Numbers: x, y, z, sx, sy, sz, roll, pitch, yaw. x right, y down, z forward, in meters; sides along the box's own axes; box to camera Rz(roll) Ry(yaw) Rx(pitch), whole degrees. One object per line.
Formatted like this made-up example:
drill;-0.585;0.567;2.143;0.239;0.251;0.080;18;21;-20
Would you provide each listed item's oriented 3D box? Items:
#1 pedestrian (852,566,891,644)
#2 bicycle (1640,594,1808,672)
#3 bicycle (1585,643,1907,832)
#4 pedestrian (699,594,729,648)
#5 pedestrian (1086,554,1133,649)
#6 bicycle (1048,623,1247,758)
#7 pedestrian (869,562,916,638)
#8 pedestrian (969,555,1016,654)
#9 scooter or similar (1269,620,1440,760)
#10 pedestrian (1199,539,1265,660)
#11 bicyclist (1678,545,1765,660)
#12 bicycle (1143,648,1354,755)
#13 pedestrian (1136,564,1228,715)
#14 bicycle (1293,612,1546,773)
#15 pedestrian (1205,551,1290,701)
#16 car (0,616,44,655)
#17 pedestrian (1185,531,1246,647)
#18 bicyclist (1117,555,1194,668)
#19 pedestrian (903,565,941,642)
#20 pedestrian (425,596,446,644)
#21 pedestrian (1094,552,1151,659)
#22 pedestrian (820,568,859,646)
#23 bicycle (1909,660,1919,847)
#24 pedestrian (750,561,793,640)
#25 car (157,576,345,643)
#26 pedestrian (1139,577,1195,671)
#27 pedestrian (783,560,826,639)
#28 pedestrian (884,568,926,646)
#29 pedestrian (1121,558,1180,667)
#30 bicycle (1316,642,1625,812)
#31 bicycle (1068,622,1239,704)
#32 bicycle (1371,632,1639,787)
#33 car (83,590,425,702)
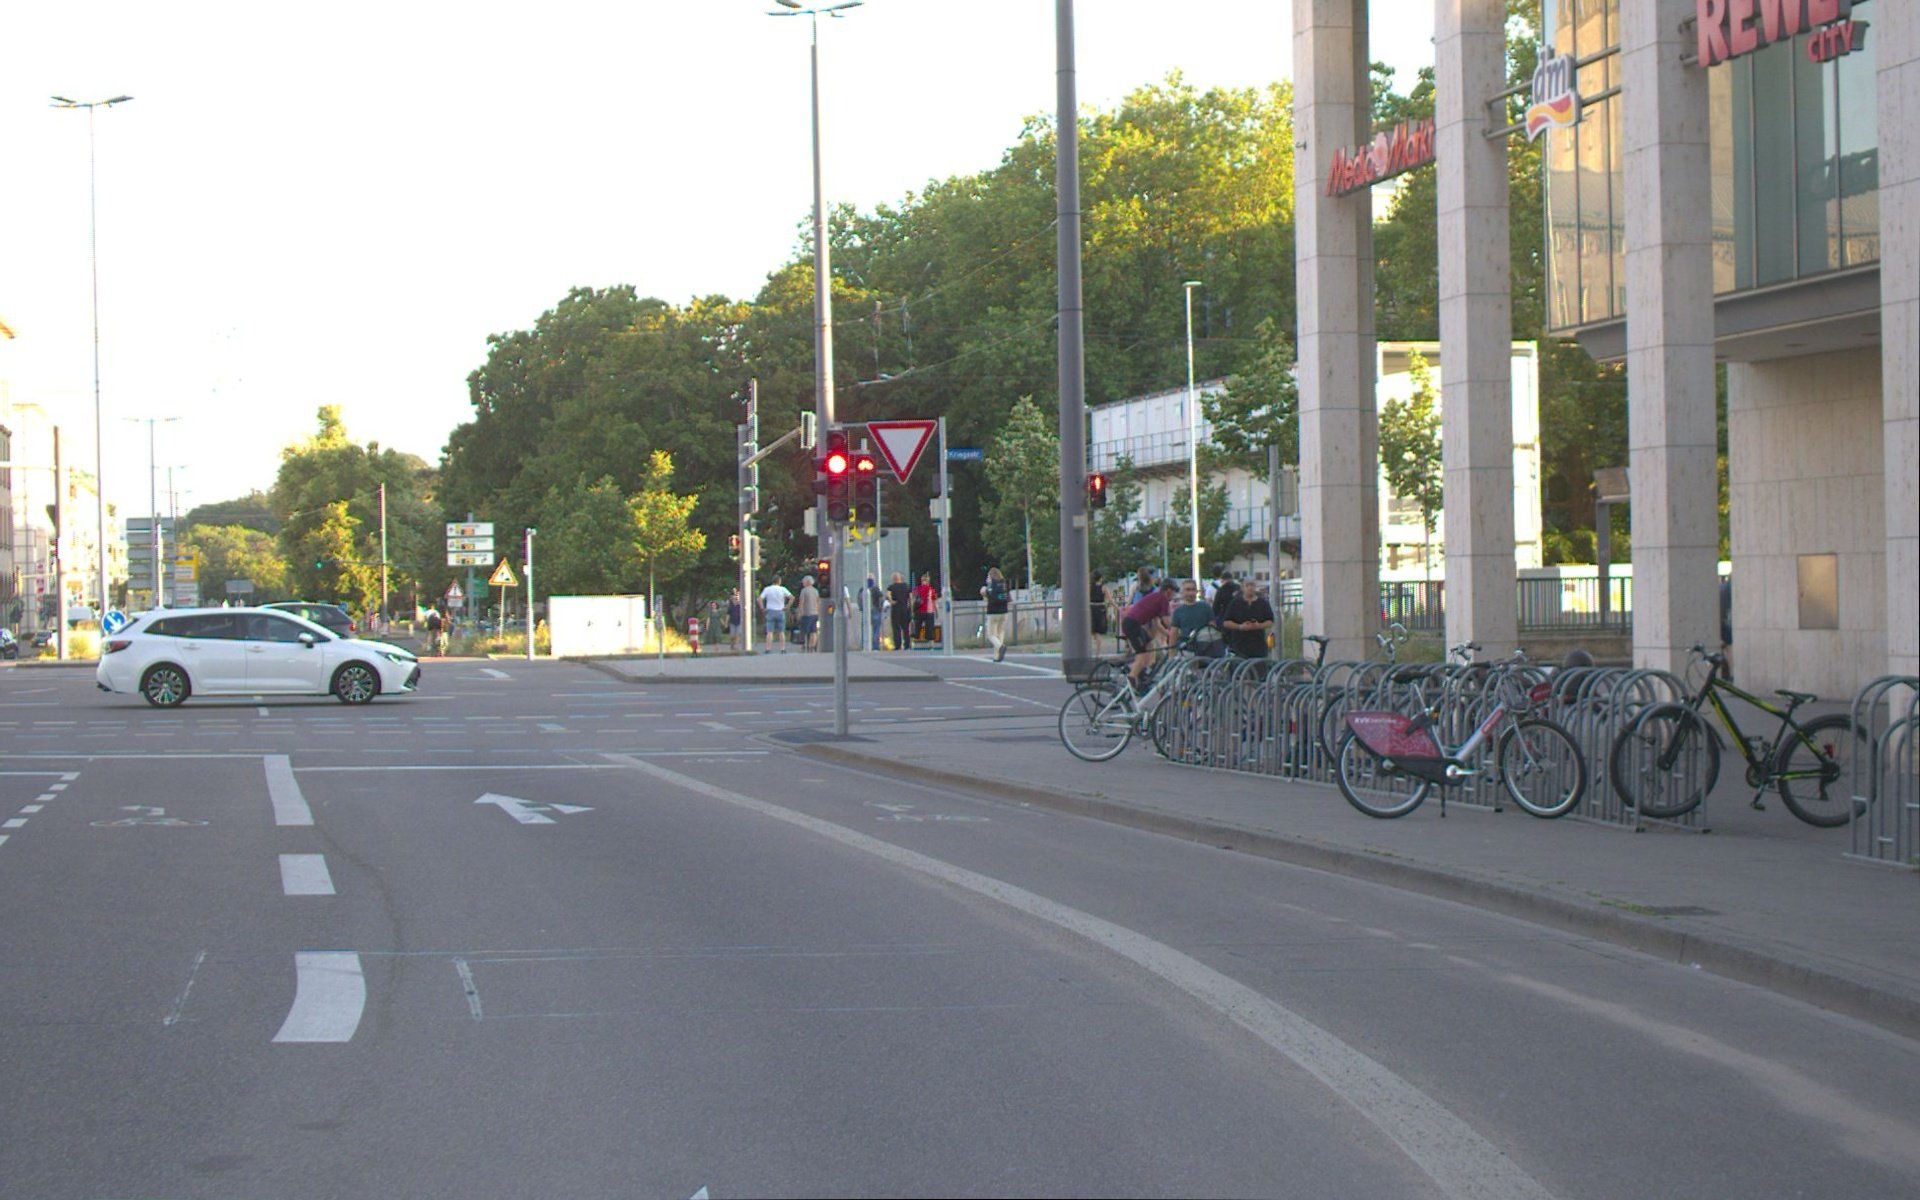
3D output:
pedestrian;-1.973;0.114;76.898;0.808;1.724;0.688;-1;0;1
bicycle;10.923;0.466;49.147;2.241;1.058;0.654;-1;0;-10
bicycle;4.871;0.848;21.354;1.816;1.096;0.601;2;0;-4
pedestrian;-7.966;0.667;111.241;0.808;1.724;0.929;-1;0;-13
pedestrian;2.760;0.026;63.403;0.836;1.724;0.688;-1;0;4
bicycle;1.754;0.842;32.157;1.817;1.208;0.570;-1;0;4
pedestrian;-1.548;-0.003;78.493;0.686;1.724;0.810;-1;0;-44
pedestrian;0.574;0.073;60.895;0.691;1.724;0.741;-1;0;-10
scooter or similar;3.341;0.755;29.164;1.275;1.156;0.674;0;0;-13
pedestrian;4.148;-0.013;52.519;0.892;1.824;0.688;-1;0;-3
bicyclist;10.884;0.027;49.142;1.019;1.615;0.654;-1;0;-10
bicycle;2.682;0.935;31.946;1.866;0.933;0.516;-1;0;-13
pedestrian;2.700;0.478;41.866;0.860;1.771;0.741;-4;1;-11
bicycle;3.661;0.735;27.419;1.866;1.255;0.674;1;0;-13
pedestrian;3.505;0.317;41.988;0.756;1.771;0.741;-4;1;-11
car;-42.580;1.565;151.397;1.997;1.656;3.993;-1;1;33
pedestrian;4.101;-0.185;55.158;0.893;1.834;0.688;-1;0;0
bicyclist;2.687;0.154;47.272;0.879;1.525;0.654;-1;0;-12
pedestrian;-0.862;0.070;77.807;0.808;1.724;0.688;-1;0;-4
pedestrian;-15.374;0.584;100.786;0.522;1.369;0.688;-1;0;-15
pedestrian;2.679;0.087;56.657;0.893;1.724;0.688;-1;0;4
pedestrian;-2.722;0.157;77.602;0.808;1.724;0.688;-1;0;1
bicycle;6.115;0.827;18.914;1.702;1.020;0.601;-1;0;-23
pedestrian;-4.188;0.008;76.264;0.808;1.724;0.688;-1;0;-13
car;-16.362;0.200;79.380;3.975;1.448;1.546;-1;1;-26
pedestrian;3.859;0.433;63.998;0.835;1.724;0.688;-1;0;-15
pedestrian;-3.469;-0.011;76.648;0.808;1.724;0.688;-1;0;-13
pedestrian;-1.233;0.152;76.939;0.808;1.724;0.688;-1;0;-13
pedestrian;3.052;0.200;55.122;0.893;1.724;0.688;-1;0;1
bicycle;3.327;0.822;22.461;1.898;1.044;0.570;-1;0;-7
bicycle;2.662;0.859;47.273;2.241;1.058;0.654;-1;0;-12
bicycle;4.065;0.814;25.686;1.871;1.109;0.570;1;0;-8
car;-10.365;0.652;50.546;4.795;1.491;2.128;-1;0;-12
